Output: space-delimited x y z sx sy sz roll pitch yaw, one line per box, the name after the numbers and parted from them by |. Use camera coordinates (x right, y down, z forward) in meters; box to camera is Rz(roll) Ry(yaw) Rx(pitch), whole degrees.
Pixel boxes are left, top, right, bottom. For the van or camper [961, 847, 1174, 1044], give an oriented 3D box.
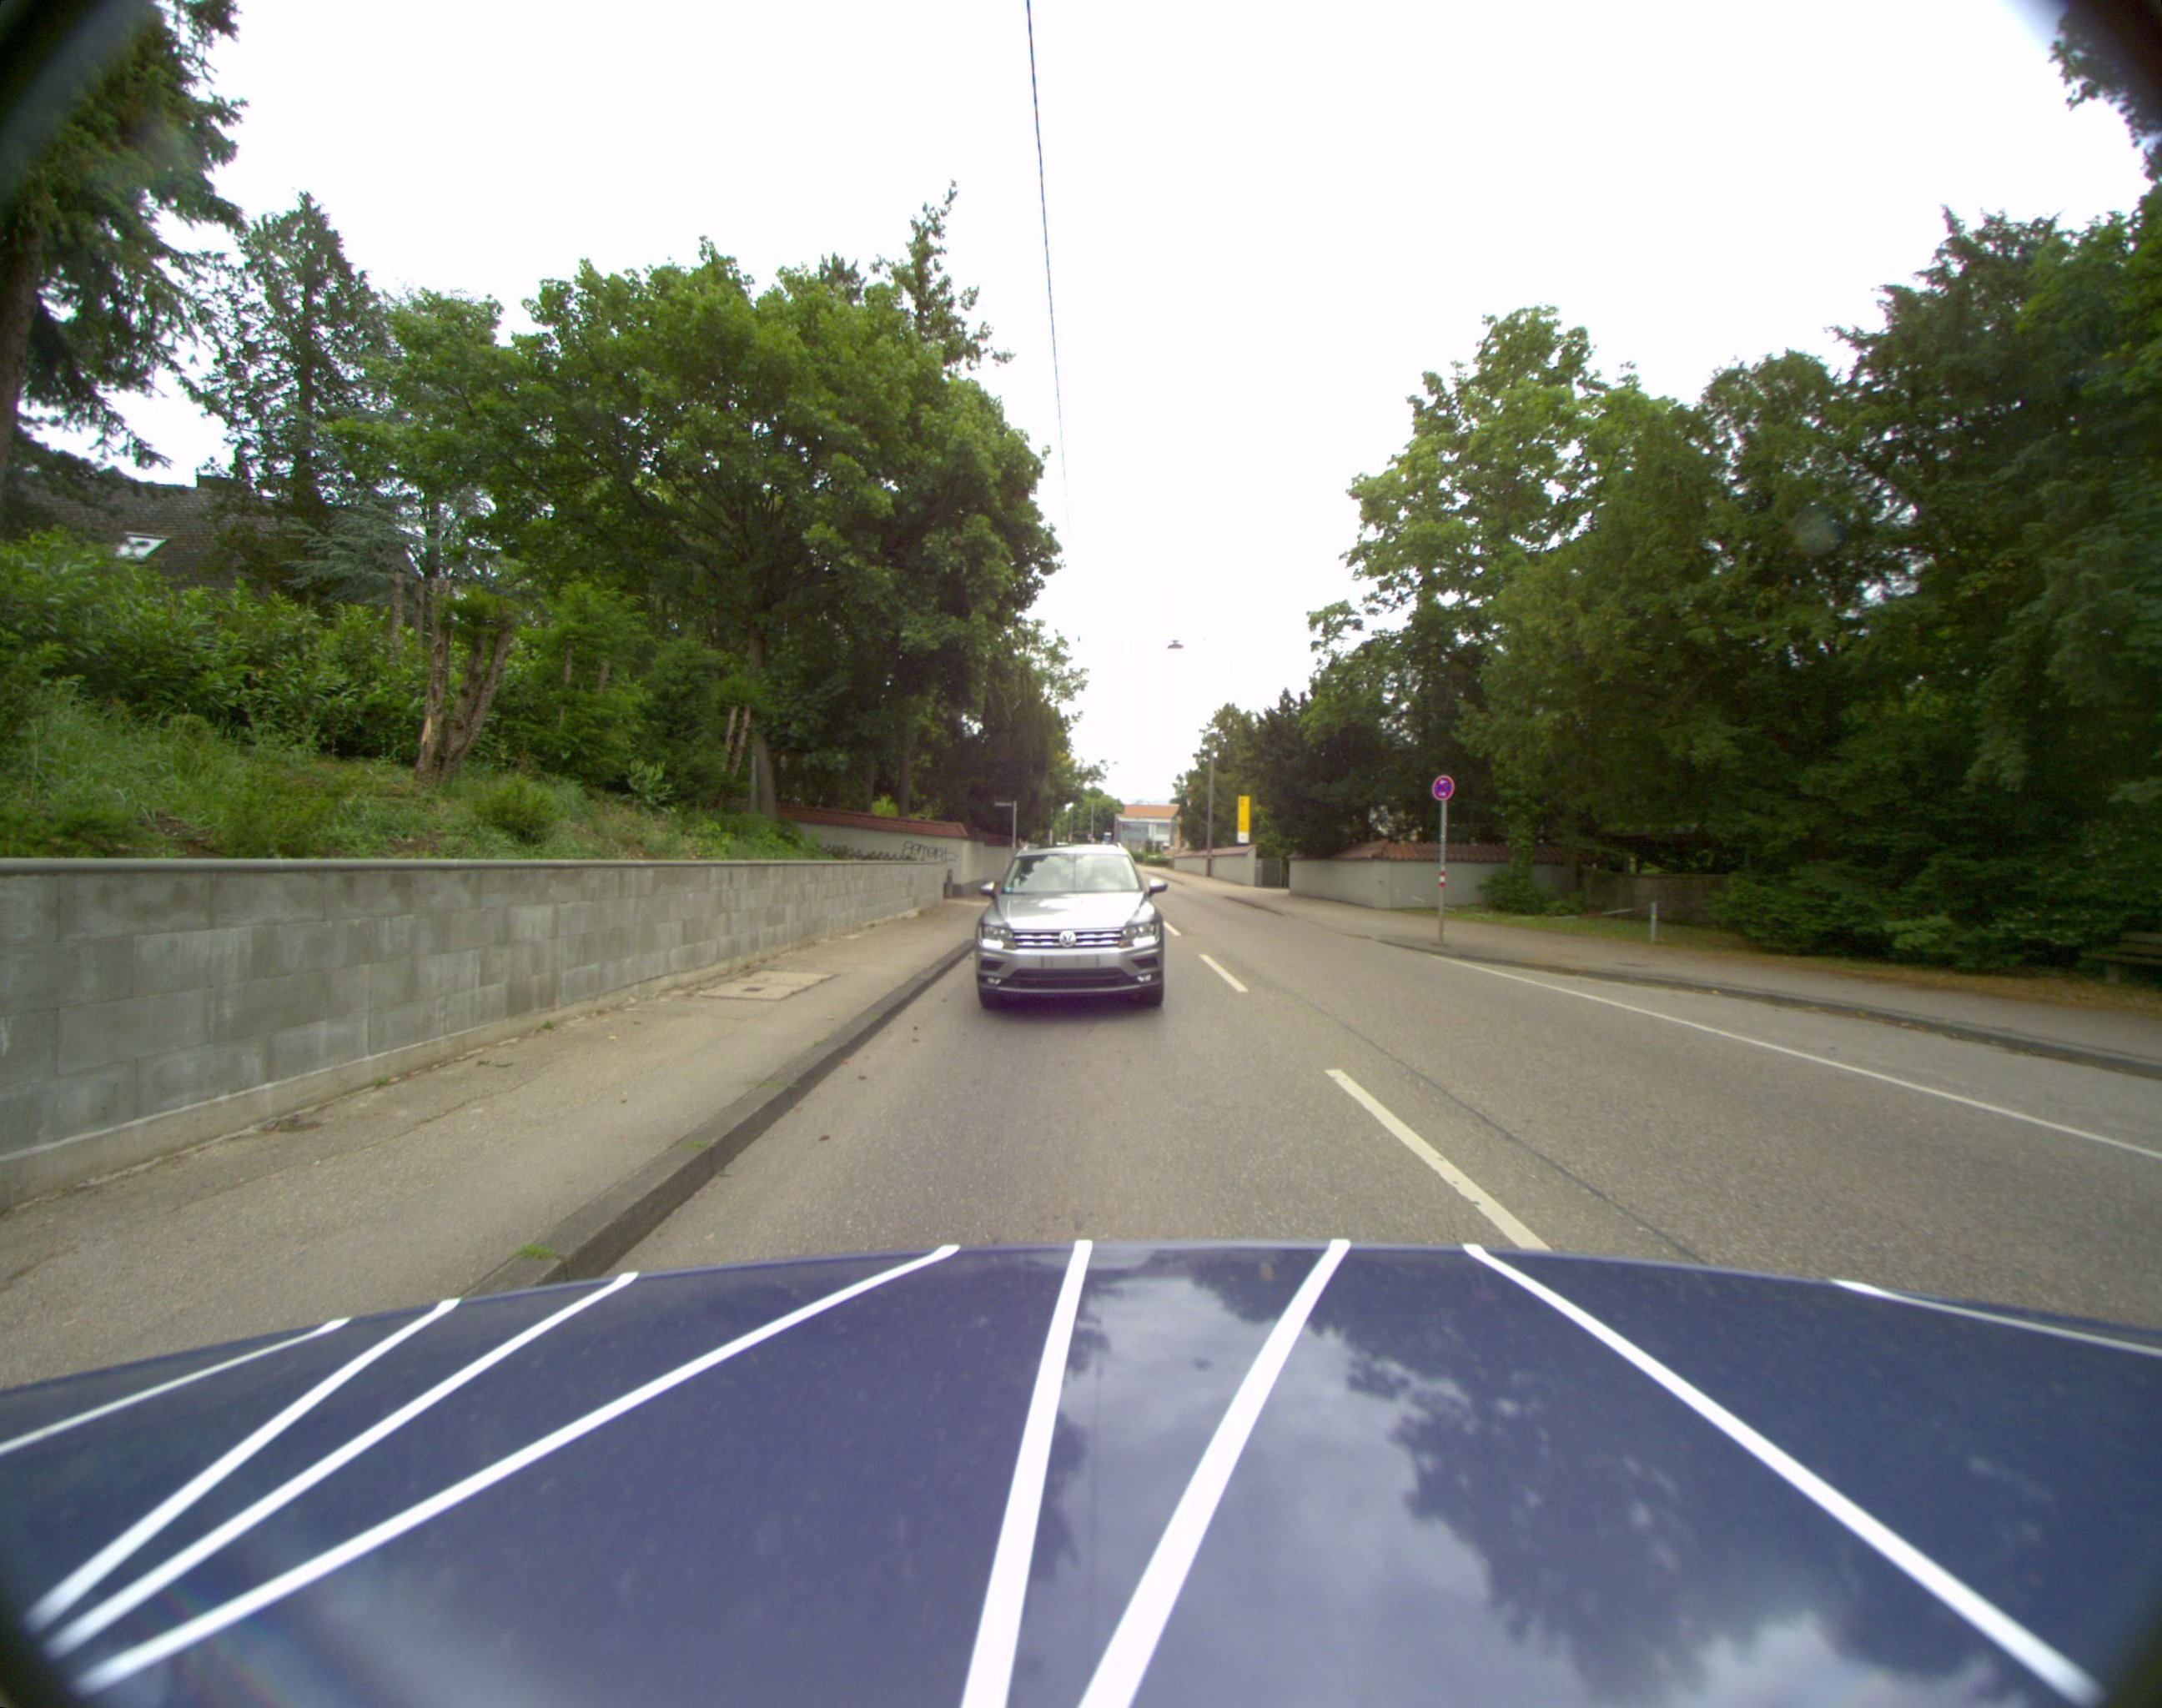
-0.088 0.769 8.564 1.800 1.663 4.198 0 0 1 | van or camper
